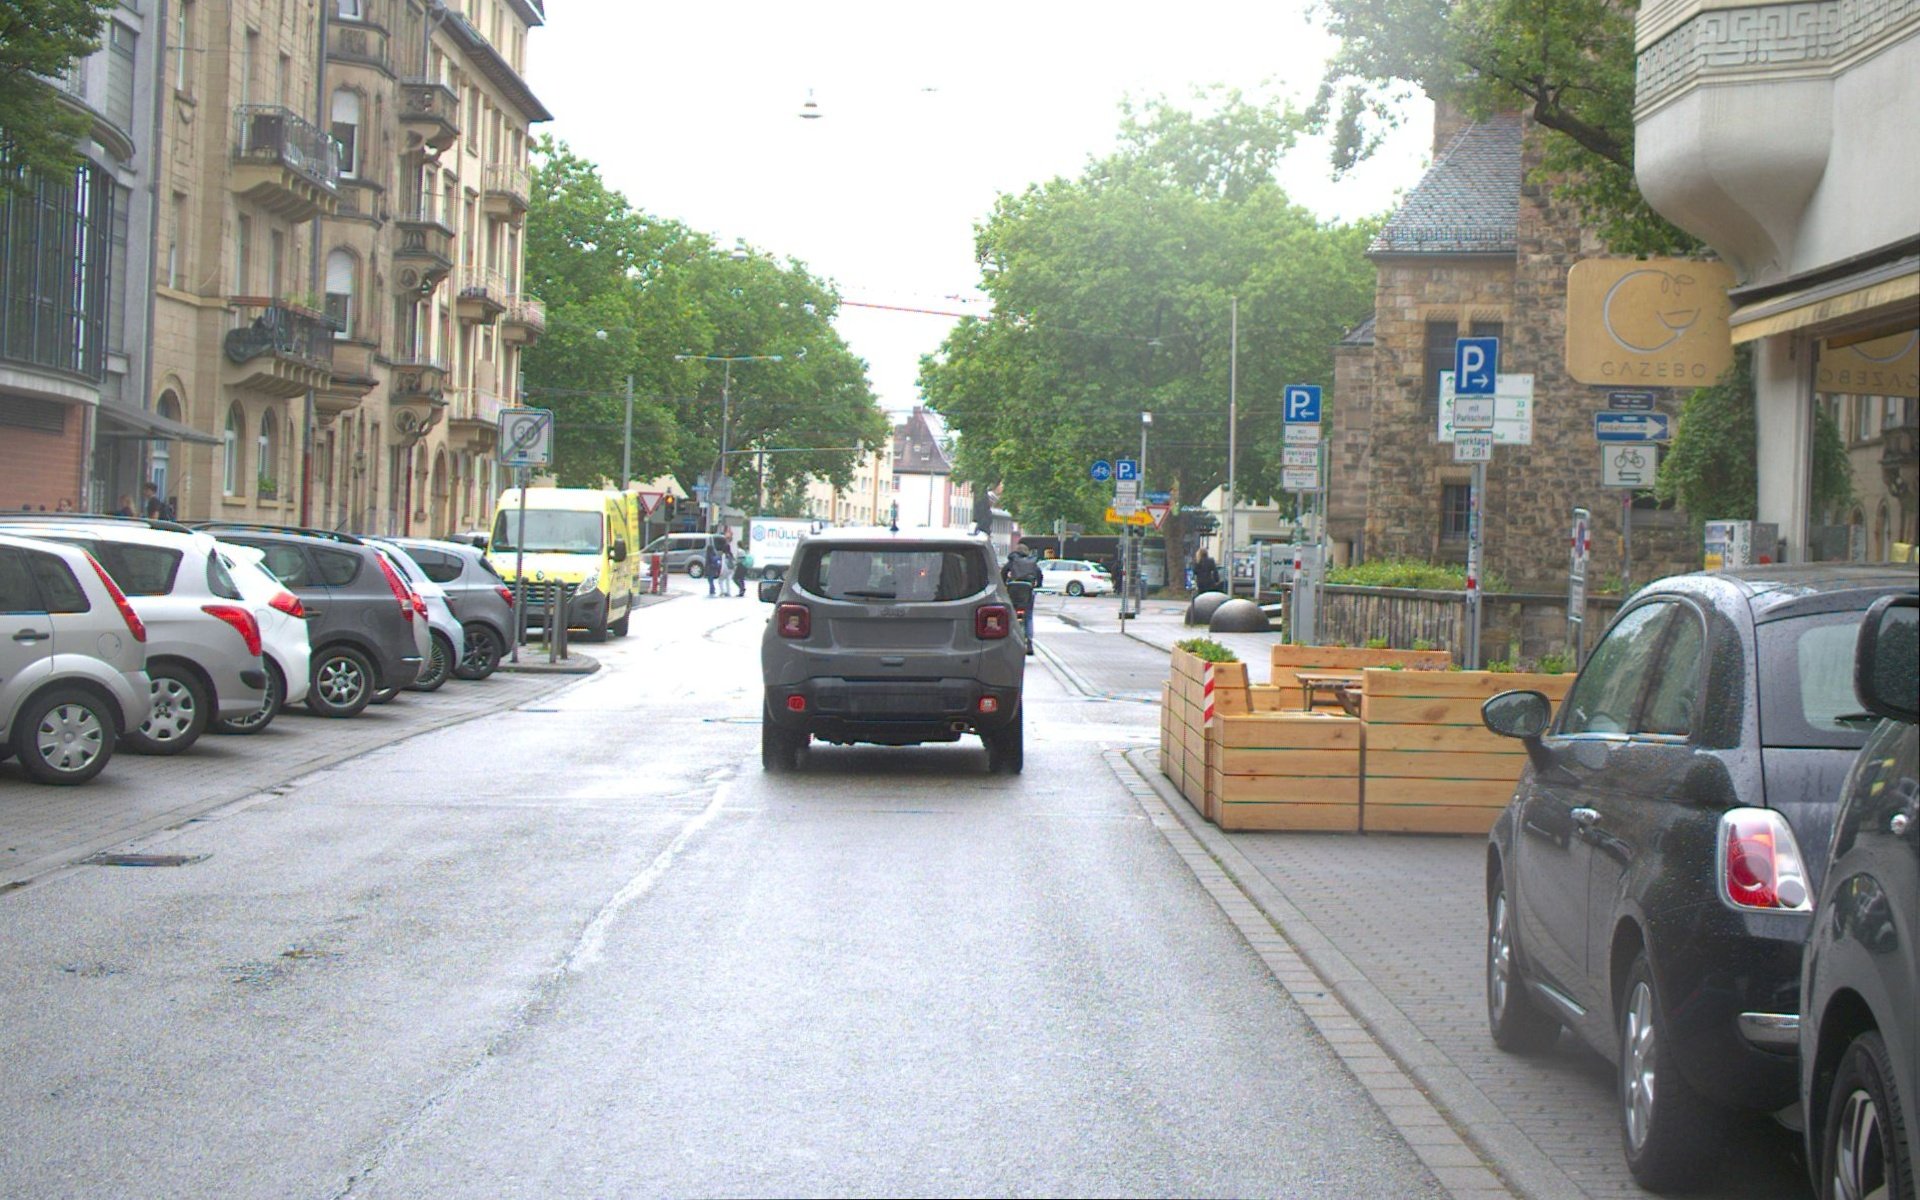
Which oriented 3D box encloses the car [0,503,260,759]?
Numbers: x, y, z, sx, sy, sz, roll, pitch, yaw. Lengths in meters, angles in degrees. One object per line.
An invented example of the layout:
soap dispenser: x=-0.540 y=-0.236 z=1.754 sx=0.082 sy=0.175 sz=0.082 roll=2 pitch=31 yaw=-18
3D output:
car: x=-6.581 y=0.182 z=22.886 sx=3.375 sy=1.648 sz=1.634 roll=1 pitch=1 yaw=-33

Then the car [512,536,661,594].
car: x=-9.893 y=-0.919 z=91.054 sx=3.413 sy=1.311 sz=1.779 roll=3 pitch=0 yaw=-33

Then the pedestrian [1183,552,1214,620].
pedestrian: x=6.024 y=-0.352 z=86.823 sx=0.690 sy=1.705 sz=0.684 roll=1 pitch=1 yaw=0

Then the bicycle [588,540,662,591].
bicycle: x=-9.886 y=-1.017 z=101.465 sx=2.092 sy=1.439 sz=0.491 roll=1 pitch=1 yaw=-20

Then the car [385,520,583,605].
car: x=-10.043 y=-0.792 z=72.590 sx=3.653 sy=1.553 sz=1.799 roll=3 pitch=0 yaw=-36

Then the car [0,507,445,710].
car: x=-6.250 y=0.073 z=28.841 sx=3.375 sy=1.536 sz=1.681 roll=2 pitch=0 yaw=-31

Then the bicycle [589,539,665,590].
bicycle: x=-9.738 y=-1.031 z=100.473 sx=2.109 sy=1.439 sz=0.539 roll=1 pitch=1 yaw=-20

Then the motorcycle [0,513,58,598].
motorcycle: x=-13.919 y=-0.665 z=50.645 sx=0.753 sy=1.170 sz=2.116 roll=4 pitch=1 yaw=-4

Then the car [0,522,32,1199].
car: x=-2.669 y=0.578 z=4.894 sx=1.669 sy=1.460 sz=4.004 roll=1 pitch=1 yaw=-1

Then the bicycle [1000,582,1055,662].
bicycle: x=0.936 y=0.295 z=47.732 sx=0.705 sy=1.050 sz=1.813 roll=1 pitch=1 yaw=0

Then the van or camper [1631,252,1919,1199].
van or camper: x=2.348 y=0.481 z=4.115 sx=2.021 sy=1.884 sz=5.055 roll=1 pitch=1 yaw=-1

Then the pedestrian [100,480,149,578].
pedestrian: x=-14.455 y=-1.234 z=59.470 sx=0.660 sy=1.669 sz=0.797 roll=1 pitch=1 yaw=-24

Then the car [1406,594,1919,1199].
car: x=2.359 y=0.719 z=9.456 sx=1.710 sy=1.396 sz=3.705 roll=1 pitch=1 yaw=-1

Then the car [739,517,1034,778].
car: x=-0.537 y=0.286 z=24.837 sx=1.898 sy=1.665 sz=4.506 roll=1 pitch=1 yaw=-1

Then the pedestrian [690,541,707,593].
pedestrian: x=-8.039 y=-1.017 z=105.686 sx=0.467 sy=1.580 sz=0.659 roll=2 pitch=1 yaw=-1

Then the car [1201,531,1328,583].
car: x=14.374 y=-2.023 z=162.617 sx=5.905 sy=2.326 sz=2.059 roll=1 pitch=1 yaw=4

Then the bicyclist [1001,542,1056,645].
bicyclist: x=0.947 y=-0.097 z=47.728 sx=0.705 sy=1.399 sz=1.171 roll=1 pitch=1 yaw=0

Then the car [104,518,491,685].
car: x=-6.624 y=0.016 z=34.391 sx=3.375 sy=1.502 sz=1.681 roll=2 pitch=0 yaw=-30

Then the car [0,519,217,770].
car: x=-6.451 y=0.233 z=20.170 sx=3.702 sy=1.447 sz=1.685 roll=0 pitch=1 yaw=-35

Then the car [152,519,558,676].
car: x=-6.535 y=-0.023 z=37.175 sx=3.818 sy=1.502 sz=1.989 roll=2 pitch=0 yaw=-30

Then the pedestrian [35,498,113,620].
pedestrian: x=-11.661 y=-0.539 z=45.260 sx=0.709 sy=1.546 sz=0.607 roll=4 pitch=1 yaw=7

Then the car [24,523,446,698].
car: x=-6.673 y=0.105 z=31.703 sx=3.375 sy=1.453 sz=1.681 roll=2 pitch=0 yaw=-34

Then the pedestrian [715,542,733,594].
pedestrian: x=-7.298 y=-1.002 z=106.274 sx=0.467 sy=1.580 sz=0.752 roll=2 pitch=1 yaw=-1

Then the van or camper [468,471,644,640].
van or camper: x=-6.592 y=-0.651 z=56.831 sx=2.121 sy=2.522 sz=6.874 roll=-2 pitch=-1 yaw=-1

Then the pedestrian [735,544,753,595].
pedestrian: x=-6.702 y=-0.950 z=106.784 sx=0.467 sy=1.580 sz=0.752 roll=2 pitch=1 yaw=-1

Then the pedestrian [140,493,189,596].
pedestrian: x=-13.830 y=-0.967 z=59.754 sx=0.660 sy=1.751 sz=0.797 roll=1 pitch=1 yaw=-24

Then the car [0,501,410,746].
car: x=-6.718 y=0.116 z=25.600 sx=4.510 sy=1.534 sz=2.338 roll=6 pitch=-2 yaw=-33
